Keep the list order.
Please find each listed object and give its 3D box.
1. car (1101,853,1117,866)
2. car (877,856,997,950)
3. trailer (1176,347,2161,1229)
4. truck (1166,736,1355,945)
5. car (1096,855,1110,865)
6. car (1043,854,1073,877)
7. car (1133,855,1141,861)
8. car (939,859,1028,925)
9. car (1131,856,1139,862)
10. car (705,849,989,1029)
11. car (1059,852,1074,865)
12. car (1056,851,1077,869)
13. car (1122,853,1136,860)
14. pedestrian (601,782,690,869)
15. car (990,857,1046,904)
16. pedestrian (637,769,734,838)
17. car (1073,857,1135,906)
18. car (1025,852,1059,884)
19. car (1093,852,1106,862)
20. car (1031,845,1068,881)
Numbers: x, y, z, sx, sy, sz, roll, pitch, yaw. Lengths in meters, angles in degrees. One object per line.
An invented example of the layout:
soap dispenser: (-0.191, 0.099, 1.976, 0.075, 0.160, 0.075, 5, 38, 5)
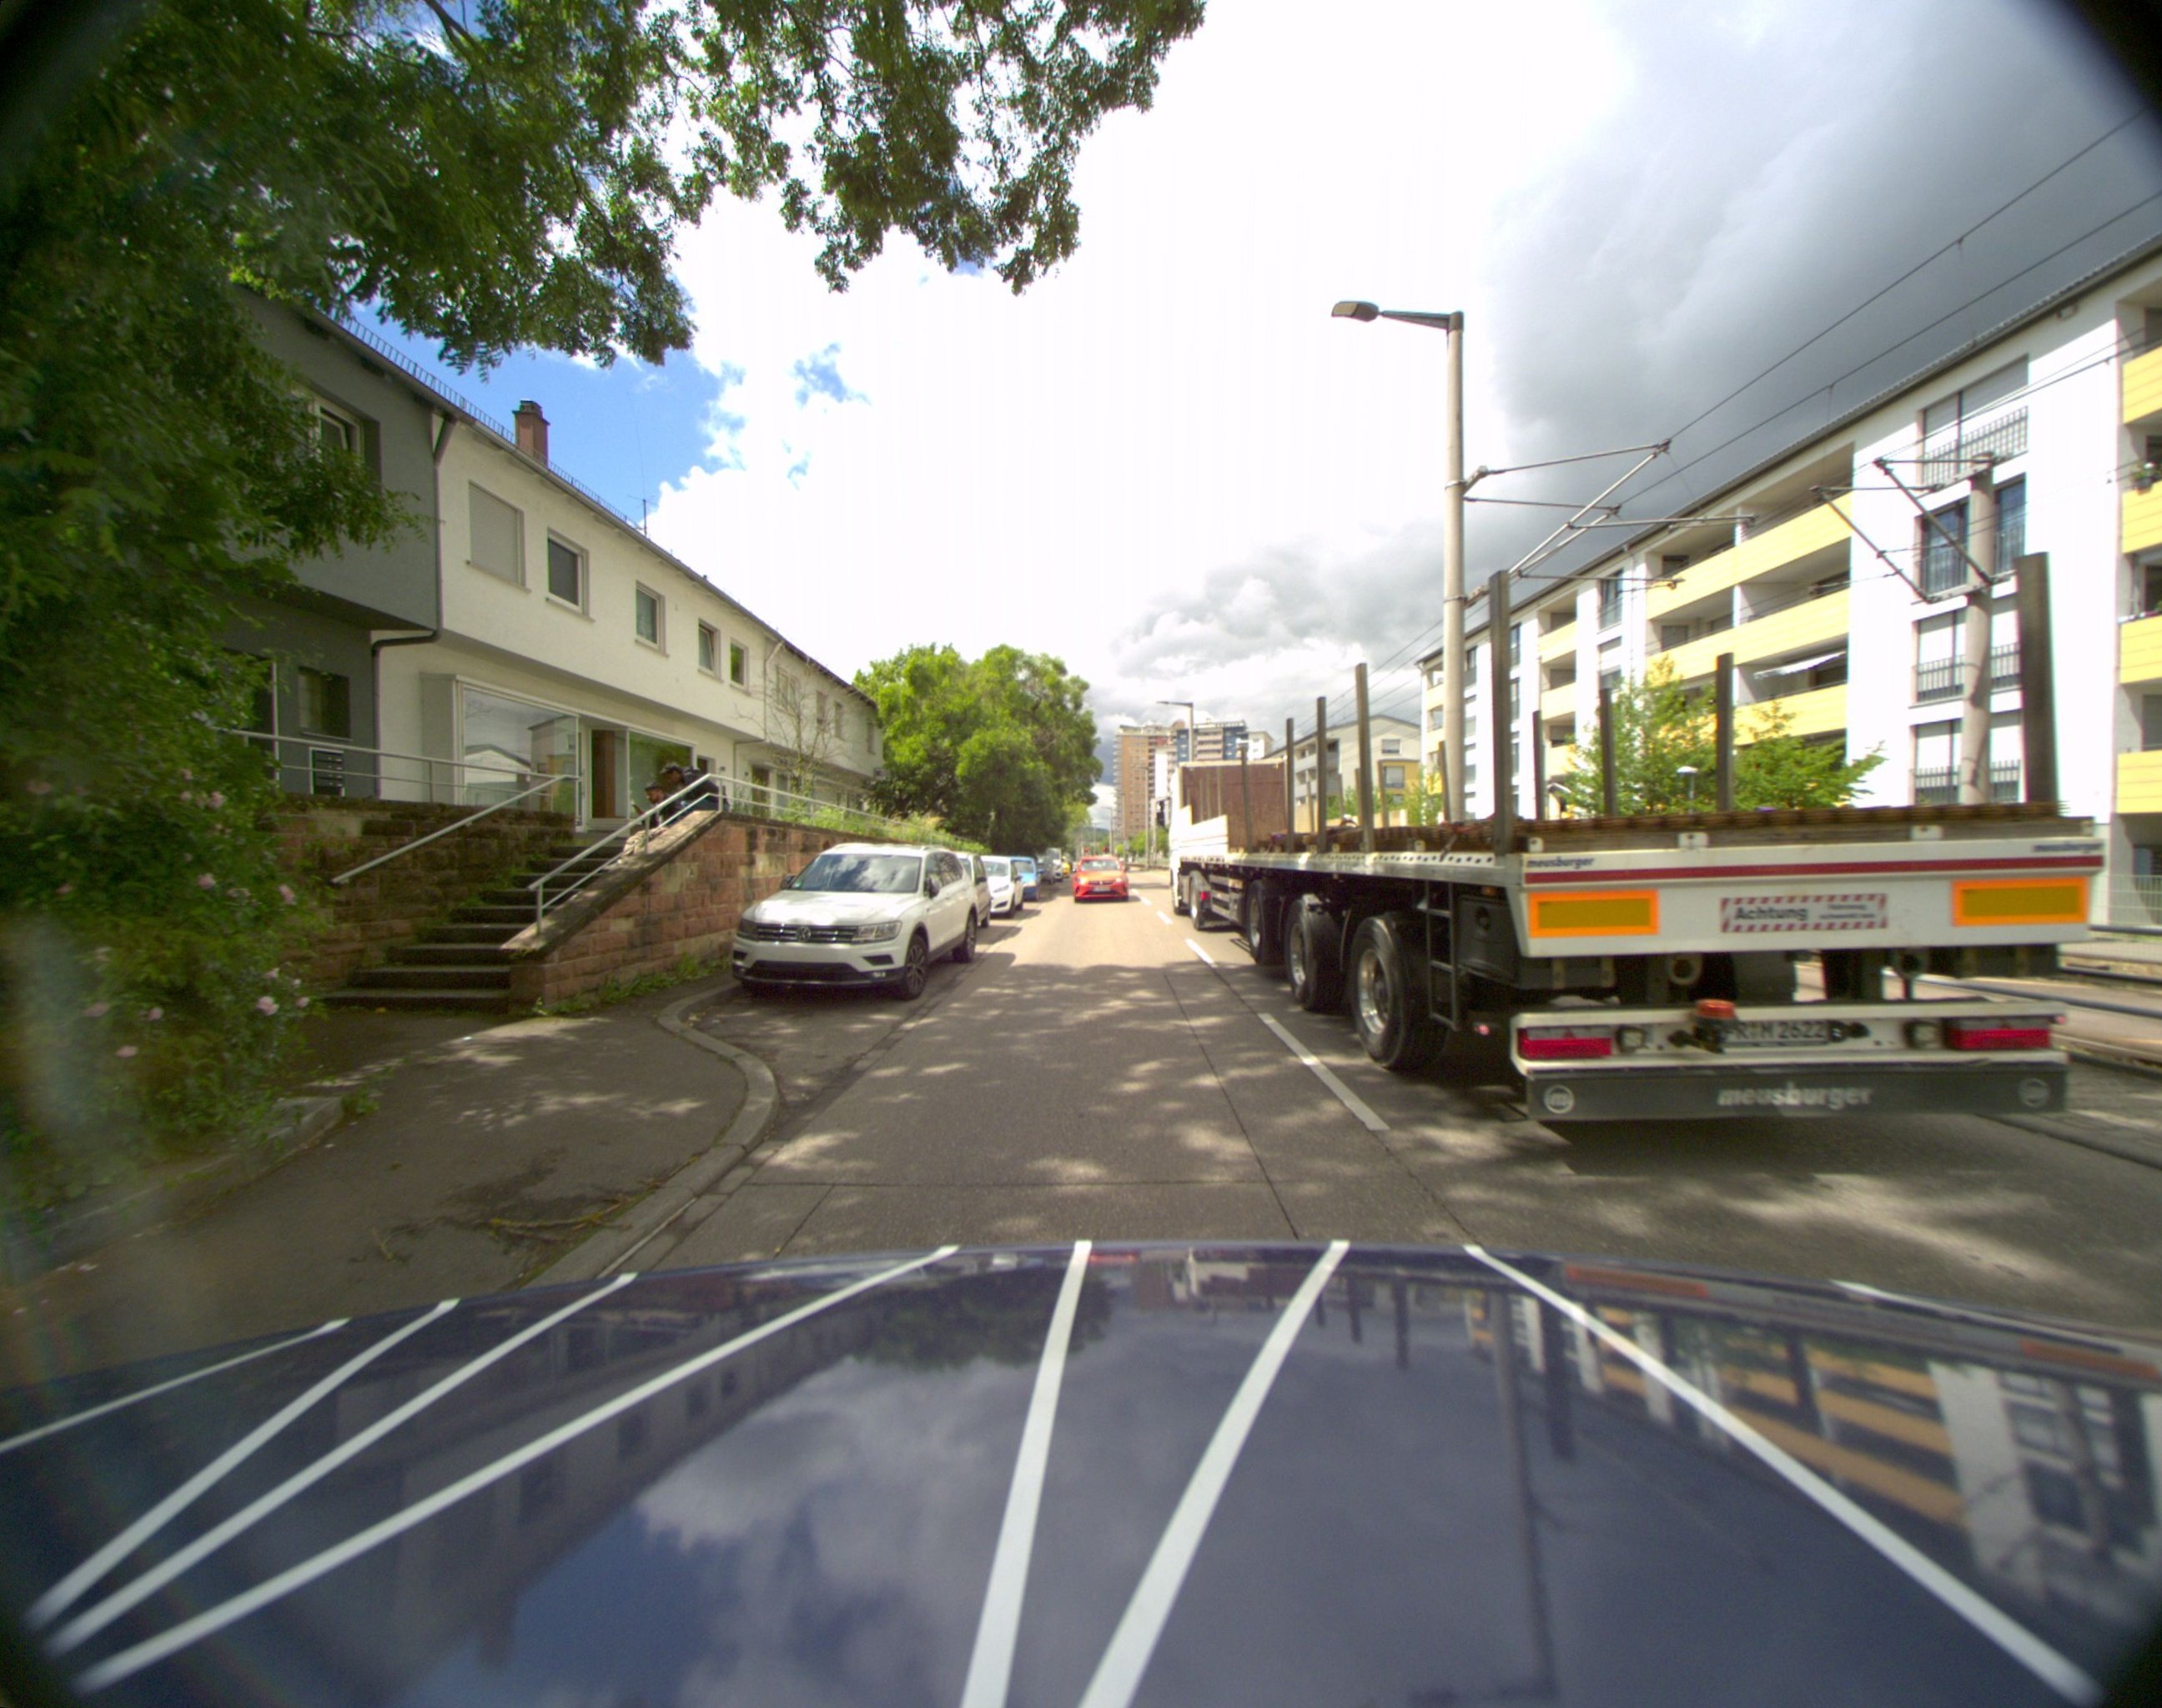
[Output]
car: (3.811, 0.728, 103.548, 1.822, 1.604, 4.601, -2, 0, -1)
car: (-2.585, 0.818, 14.348, 1.585, 1.543, 3.475, -1, 0, 0)
trailer: (3.267, -0.232, 9.980, 2.704, 3.559, 13.676, -2, 0, 2)
truck: (3.454, -0.224, 16.270, 2.704, 3.559, 6.145, -2, 0, 2)
car: (3.277, 0.851, 113.110, 1.822, 1.494, 4.836, -2, 0, -2)
car: (-1.453, 0.711, 49.655, 1.759, 1.434, 4.341, 1, 0, 0)
car: (15.014, 0.952, 202.813, 1.781, 1.530, 3.803, -1, 0, -2)
car: (-2.354, 0.881, 19.263, 1.649, 1.481, 3.822, -1, 0, 1)
car: (14.766, 1.418, 208.992, 1.781, 1.530, 3.803, -1, 0, -2)
car: (-2.476, 0.795, 9.406, 1.828, 1.672, 4.577, 0, 0, 4)
car: (-1.972, 0.588, 102.581, 1.842, 1.634, 4.429, -1, 0, -2)
car: (-1.452, 0.618, 77.978, 2.020, 1.778, 5.076, 0, 0, 1)
car: (15.276, 0.758, 240.122, 4.506, 1.914, 1.877, -1, 0, -42)
pedestrian: (-4.944, -0.310, 8.651, 0.643, 0.939, 0.616, 1, 0, 0)
car: (-2.063, 0.834, 25.696, 1.612, 1.448, 3.675, 1, 0, -1)
pedestrian: (-4.796, -0.599, 9.262, 0.797, 0.785, 0.705, -1, 0, 0)
car: (0.669, 0.822, 24.285, 1.792, 1.387, 4.241, -1, 0, 0)
car: (-1.924, 0.694, 38.401, 1.517, 1.525, 2.847, 1, 0, 0)
car: (3.131, 0.498, 129.020, 1.862, 1.680, 4.432, 0, 0, -3)
car: (-1.756, 0.487, 43.929, 1.919, 1.947, 5.744, 0, 0, 0)
